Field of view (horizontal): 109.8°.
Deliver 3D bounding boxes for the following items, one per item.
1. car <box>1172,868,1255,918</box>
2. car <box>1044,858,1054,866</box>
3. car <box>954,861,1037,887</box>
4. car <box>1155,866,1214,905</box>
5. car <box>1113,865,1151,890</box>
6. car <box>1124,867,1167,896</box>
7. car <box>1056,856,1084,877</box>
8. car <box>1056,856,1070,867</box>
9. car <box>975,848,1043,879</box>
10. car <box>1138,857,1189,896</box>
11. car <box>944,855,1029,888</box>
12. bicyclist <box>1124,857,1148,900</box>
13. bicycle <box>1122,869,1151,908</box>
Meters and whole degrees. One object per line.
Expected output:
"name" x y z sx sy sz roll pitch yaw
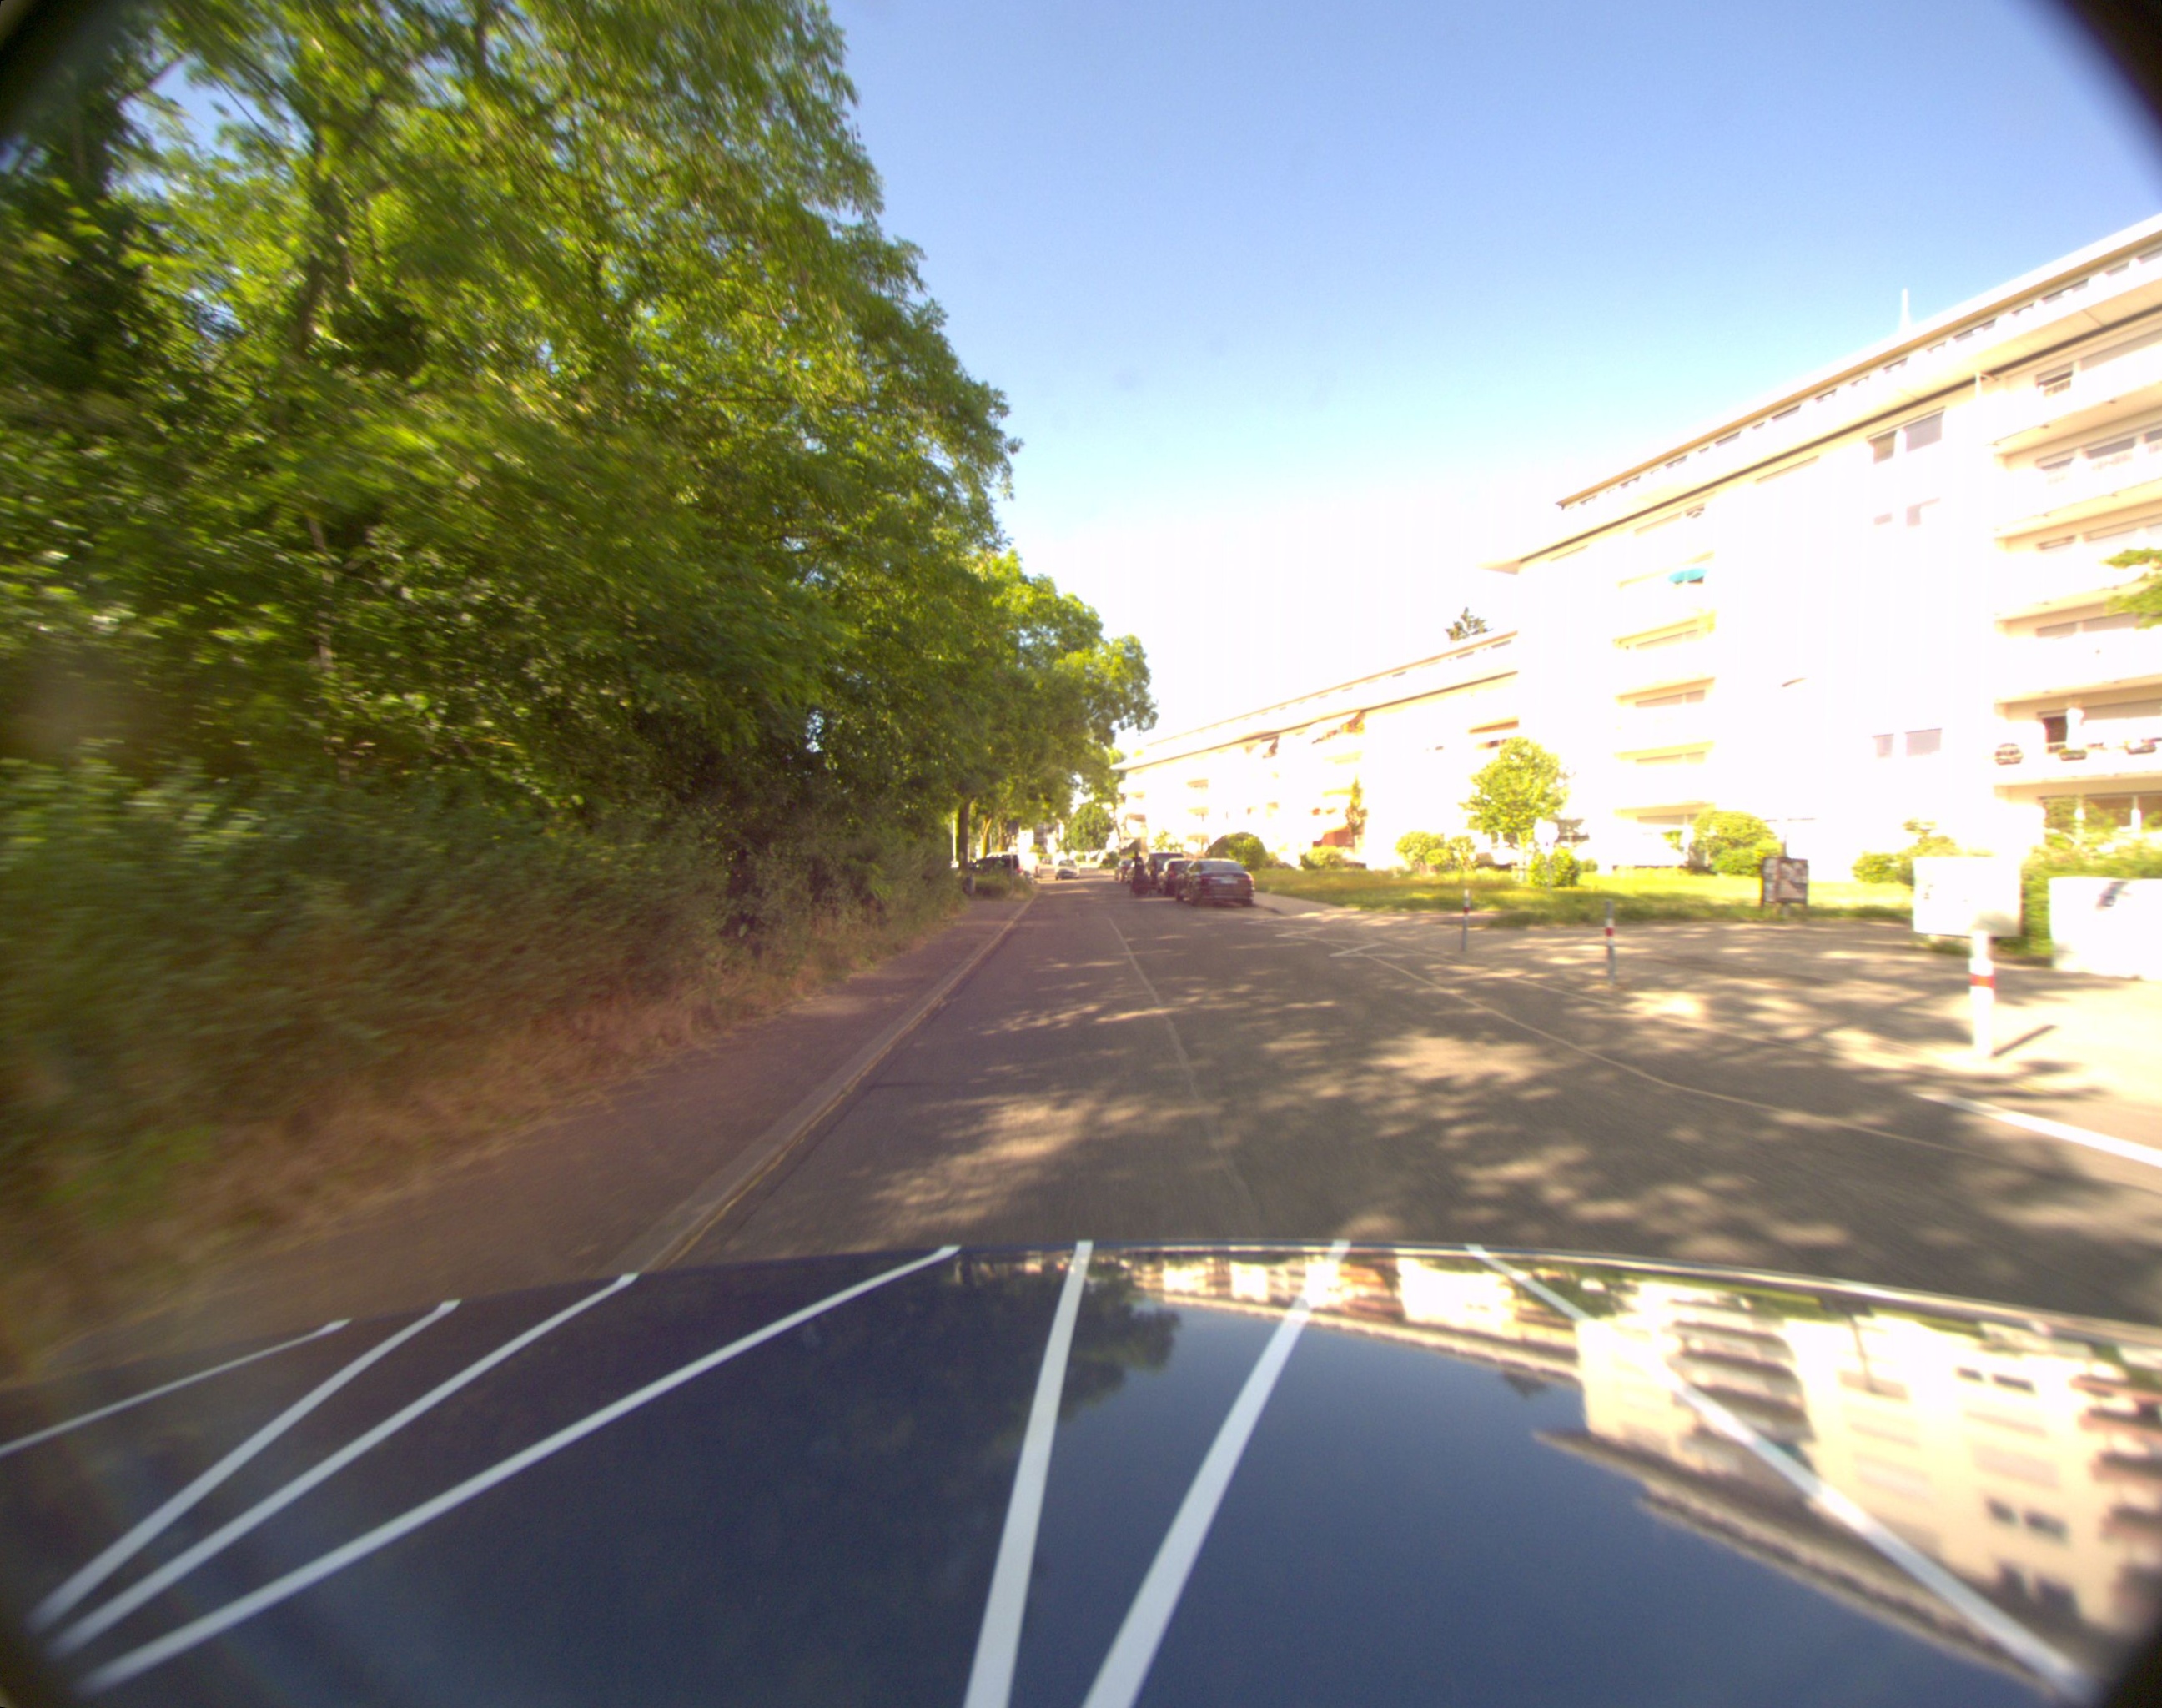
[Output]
"car" 4.179 1.179 24.658 1.732 1.455 4.682 0 -1 -2
"car" -6.509 1.582 154.058 1.694 1.661 4.049 -2 0 -8
"car" -4.647 1.068 41.858 4.463 1.406 1.774 0 0 -3
"car" 4.184 1.240 31.283 1.844 1.445 4.018 1 -1 0
"car" 3.254 1.497 49.538 1.845 1.473 4.799 0 0 -4
"car" 3.665 1.534 43.847 1.845 1.473 4.573 2 0 -3
"car" -0.844 0.900 55.456 1.598 1.417 4.168 2 0 -6
"car" -3.158 1.338 135.431 2.008 1.837 4.613 -3 0 -7
"car" -4.884 0.647 51.915 4.463 2.004 2.021 0 0 -1
"car" 4.059 1.072 37.978 1.845 1.770 4.887 1 0 -2
"car" -4.806 0.882 39.243 4.159 1.685 1.775 0 0 0
"bicyclist" 2.152 0.949 30.015 0.847 1.648 1.064 -1 0 -1
"bicycle" 2.162 1.299 29.774 0.853 1.362 3.220 -1 0 -1
